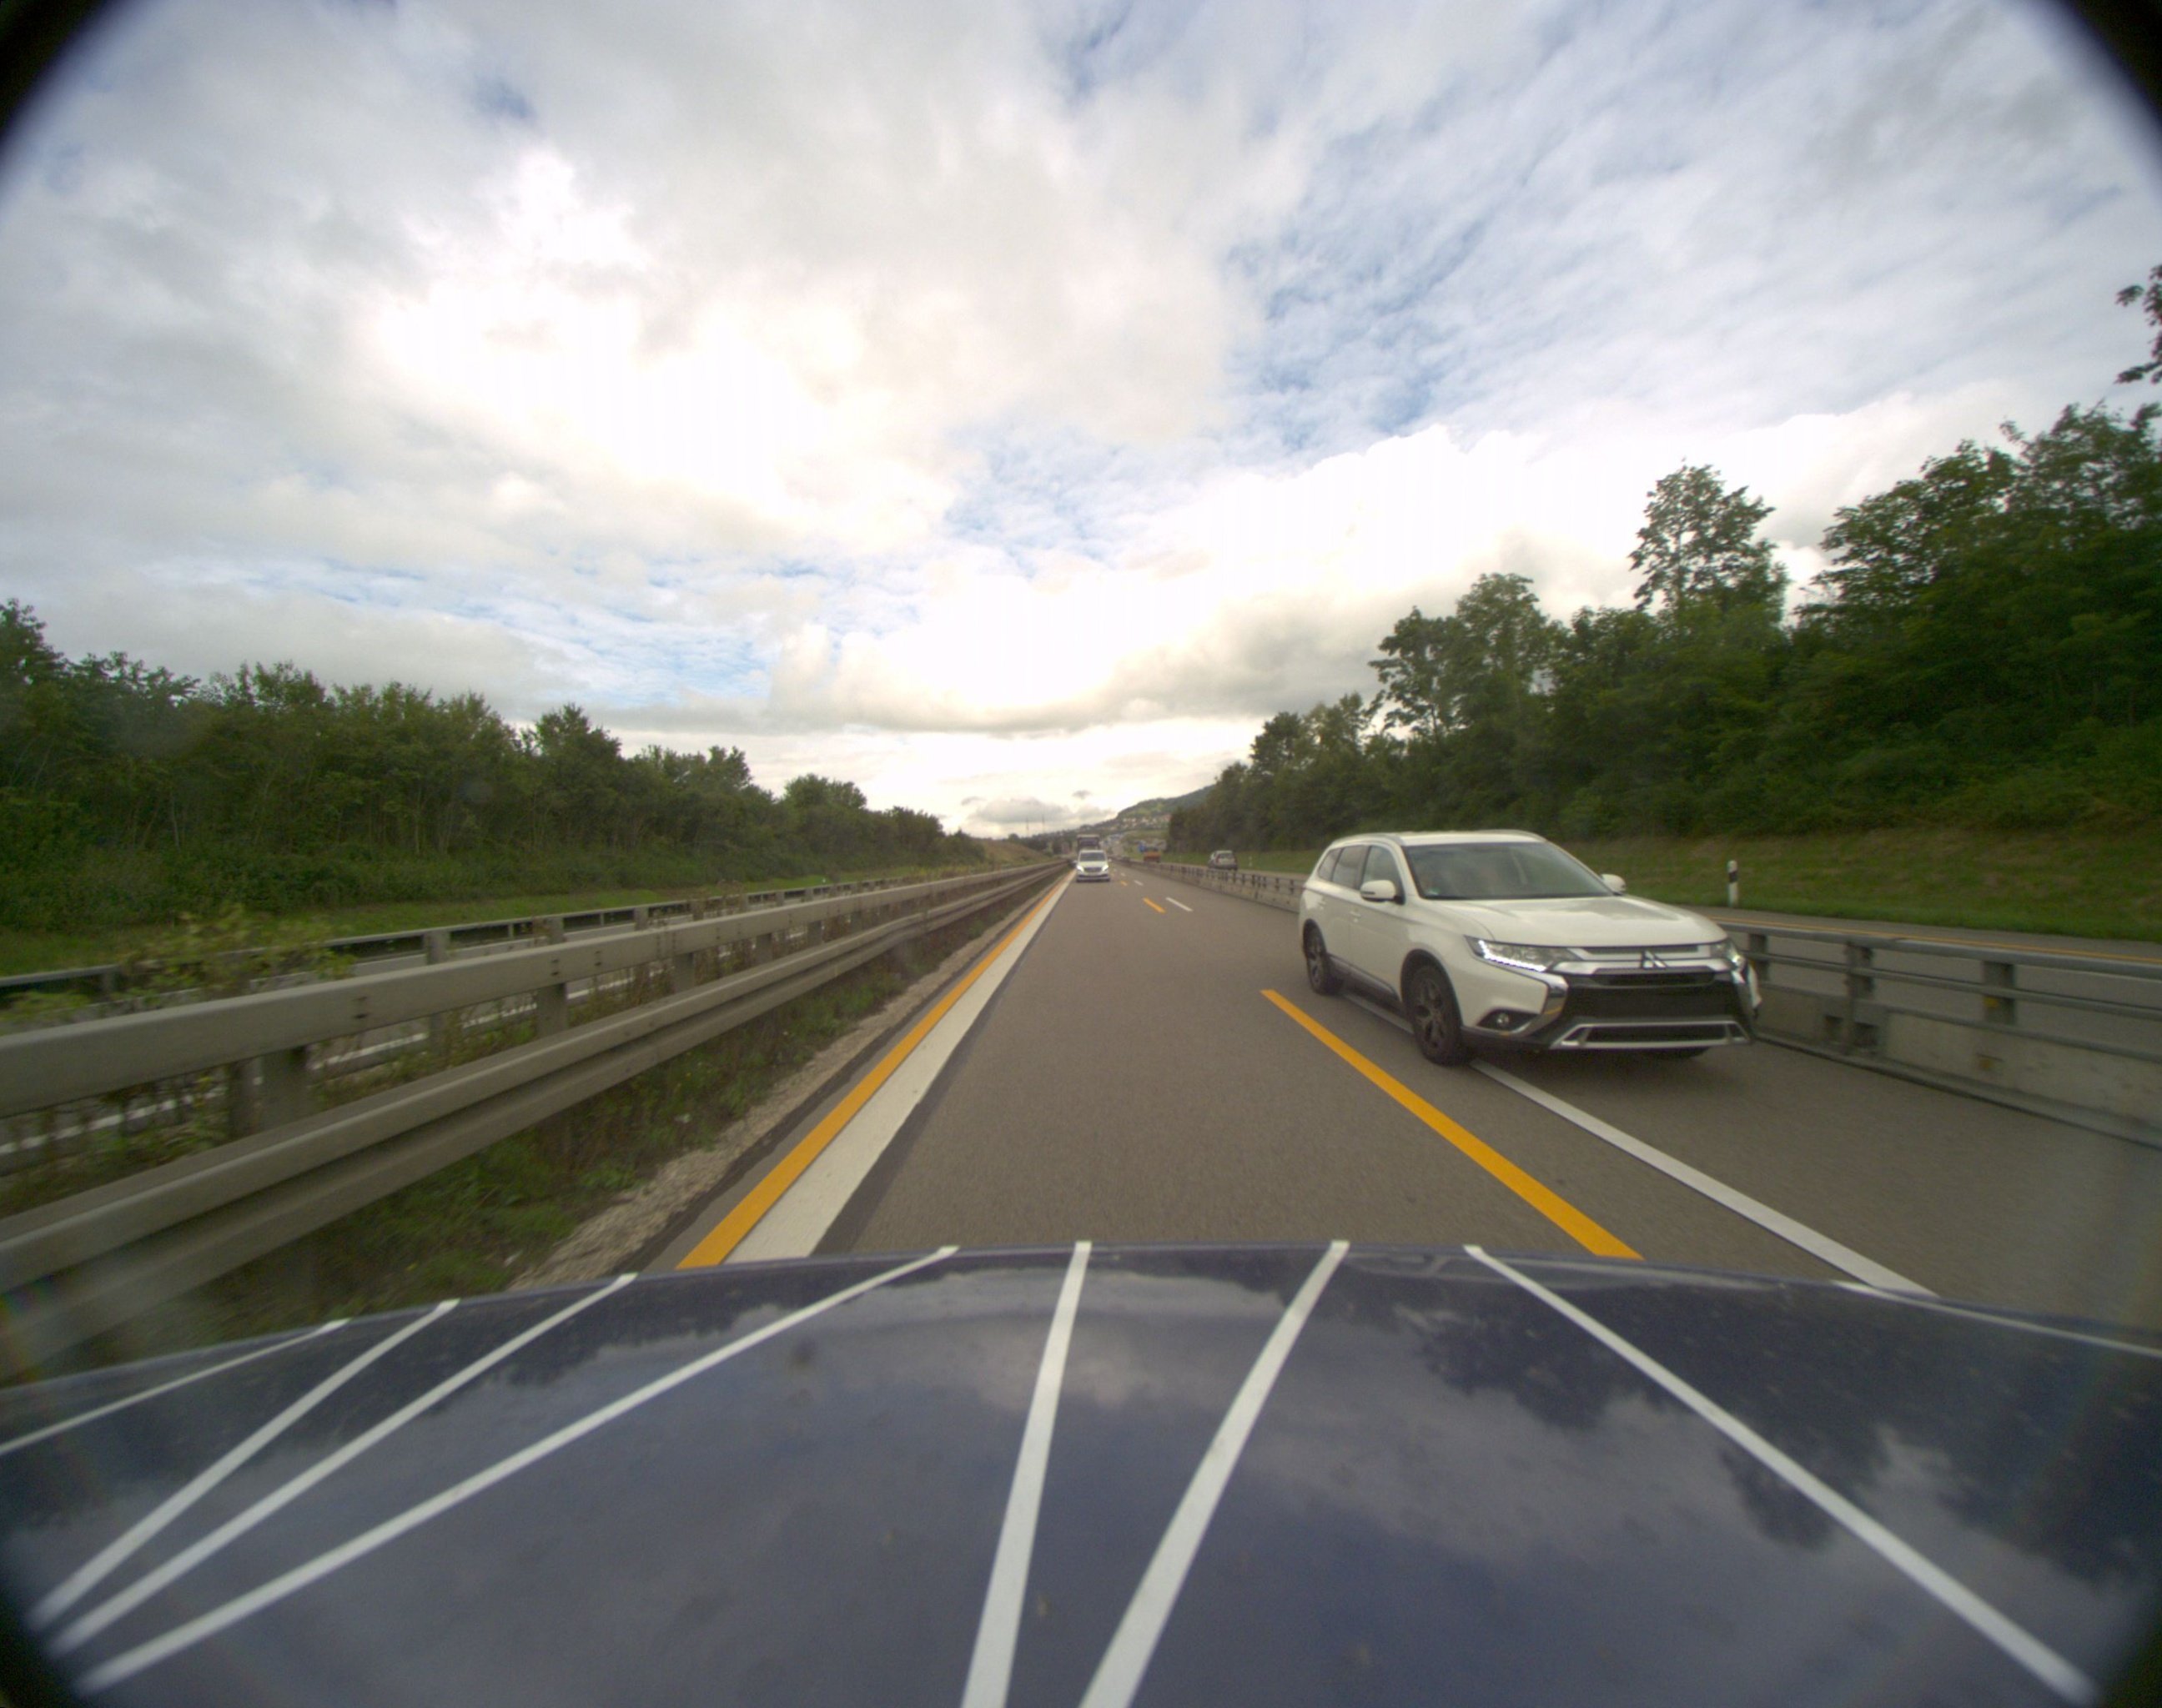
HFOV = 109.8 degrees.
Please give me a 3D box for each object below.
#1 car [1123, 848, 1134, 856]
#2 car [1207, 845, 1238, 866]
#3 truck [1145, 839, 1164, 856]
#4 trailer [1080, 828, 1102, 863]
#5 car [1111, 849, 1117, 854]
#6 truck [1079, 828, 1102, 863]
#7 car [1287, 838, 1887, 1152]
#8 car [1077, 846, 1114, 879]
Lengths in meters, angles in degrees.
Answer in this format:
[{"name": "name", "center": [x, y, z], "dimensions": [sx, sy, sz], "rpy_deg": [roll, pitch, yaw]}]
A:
[{"name": "car", "center": [9.875, -0.402, 158.870], "dimensions": [1.998, 1.498, 4.832], "rpy_deg": [-2, 0, 1]}, {"name": "car", "center": [10.906, 0.078, 58.693], "dimensions": [1.685, 1.541, 3.949], "rpy_deg": [-1, 1, 0]}, {"name": "truck", "center": [12.065, -1.068, 125.144], "dimensions": [2.496, 2.702, 6.667], "rpy_deg": [-2, 0, 1]}, {"name": "trailer", "center": [1.309, -1.095, 95.719], "dimensions": [2.521, 4.081, 11.112], "rpy_deg": [-2, 1, 1]}, {"name": "car", "center": [10.212, -0.678, 235.786], "dimensions": [1.939, 1.482, 4.589], "rpy_deg": [-3, 0, 1]}, {"name": "truck", "center": [1.194, -1.081, 93.015], "dimensions": [2.521, 4.081, 5.685], "rpy_deg": [-2, 1, 1]}, {"name": "car", "center": [3.287, 0.736, 6.305], "dimensions": [1.998, 1.618, 4.607], "rpy_deg": [-1, 0, 2]}, {"name": "car", "center": [0.835, 0.433, 44.725], "dimensions": [1.990, 1.787, 4.585], "rpy_deg": [-2, 1, 1]}]
